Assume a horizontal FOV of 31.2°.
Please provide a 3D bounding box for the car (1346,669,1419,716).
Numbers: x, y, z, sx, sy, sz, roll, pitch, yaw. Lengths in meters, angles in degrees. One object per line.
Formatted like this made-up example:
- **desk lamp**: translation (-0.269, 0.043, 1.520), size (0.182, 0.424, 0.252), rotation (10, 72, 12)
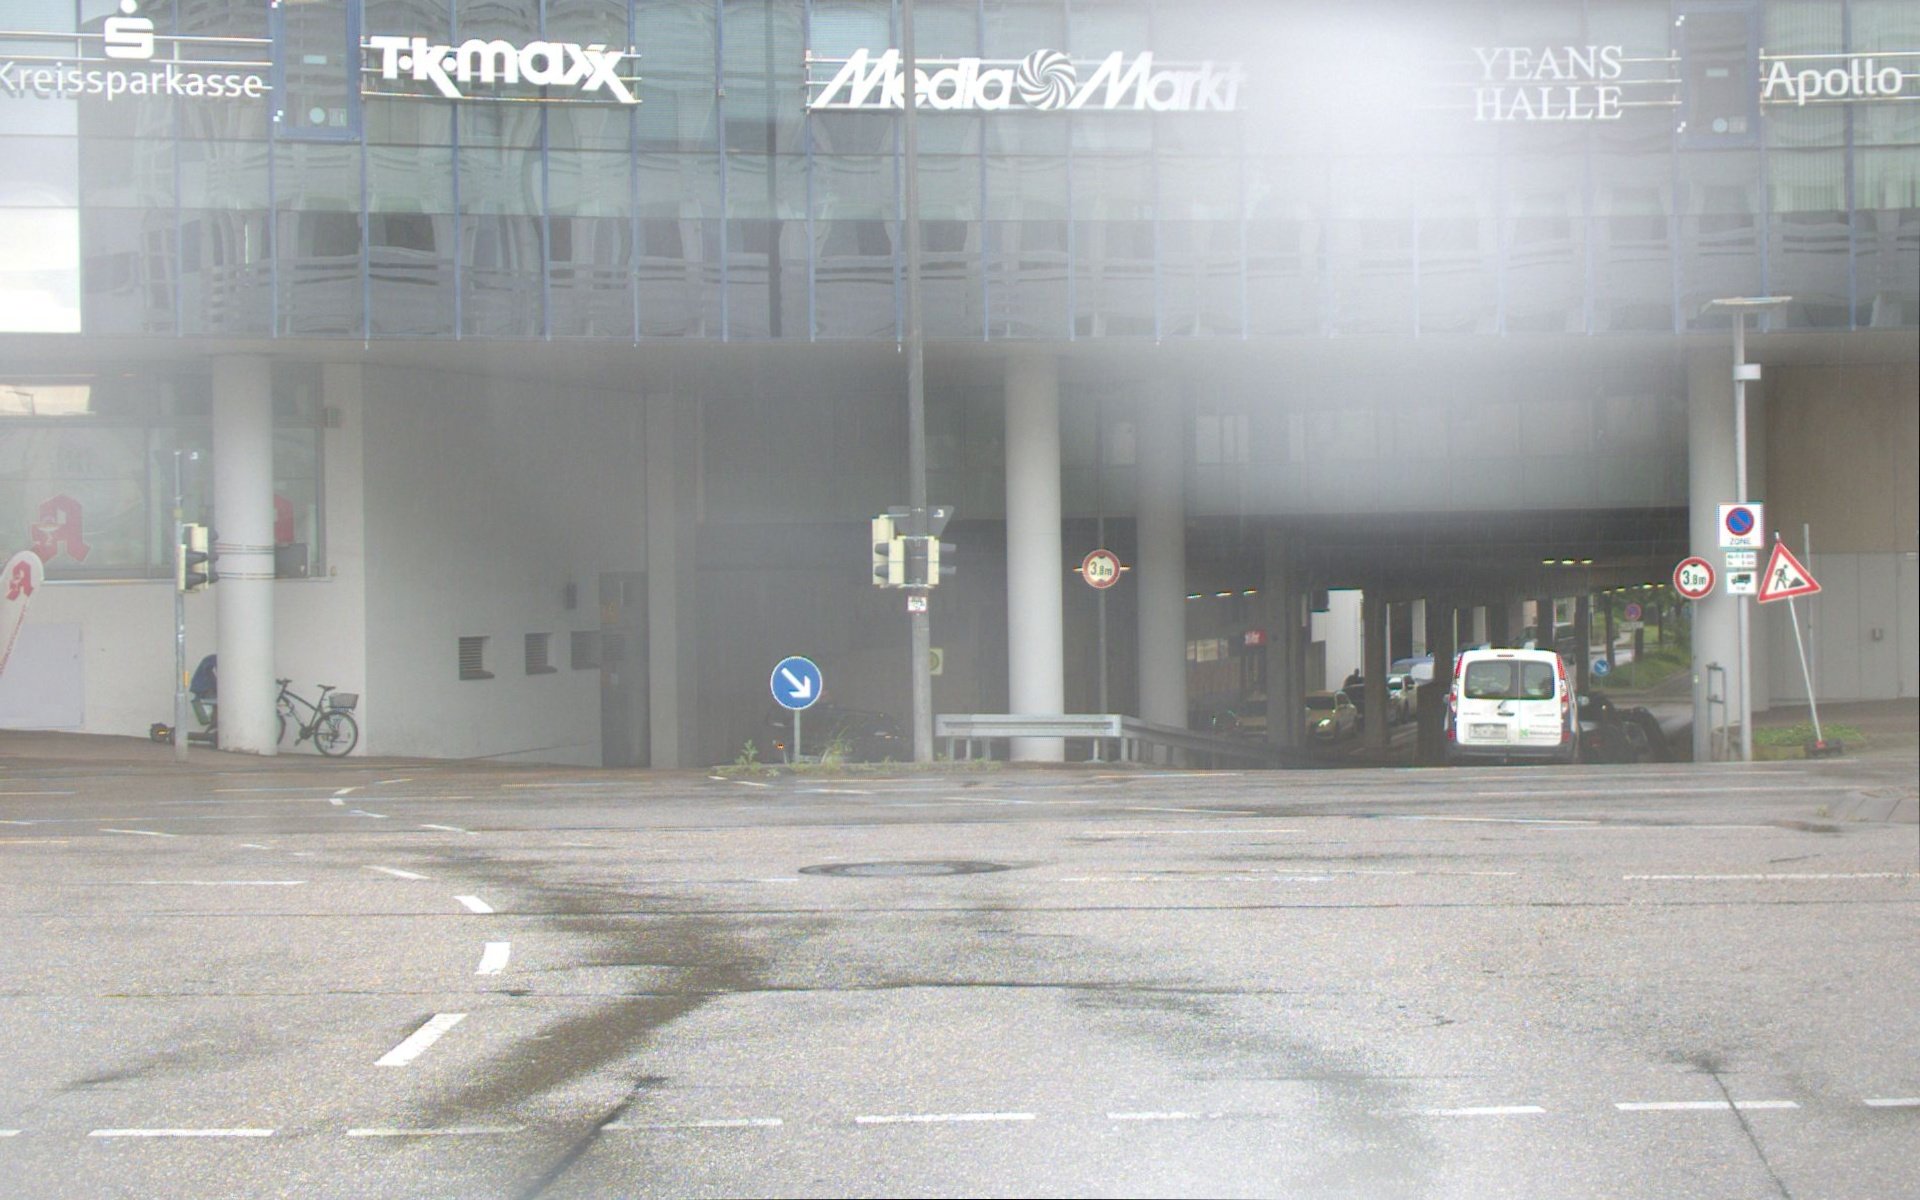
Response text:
- **car**: translation (14.087, 3.064, 114.595), size (1.994, 1.459, 3.998), rotation (-1, -1, 13)

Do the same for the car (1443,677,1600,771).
- **car**: translation (9.218, 2.055, 56.235), size (1.759, 1.459, 3.938), rotation (-2, -3, 21)

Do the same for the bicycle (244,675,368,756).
- **bicycle**: translation (-9.268, 1.638, 48.709), size (1.581, 1.014, 0.452), rotation (6, -2, -31)

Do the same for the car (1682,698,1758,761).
- **car**: translation (20.119, 3.405, 90.898), size (1.889, 1.486, 3.838), rotation (1, 0, 13)

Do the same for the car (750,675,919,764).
- **car**: translation (-2.243, 2.199, 62.531), size (1.894, 1.465, 4.023), rotation (-1, -4, 16)

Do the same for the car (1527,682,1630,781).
- **car**: translation (11.003, 2.365, 61.009), size (1.633, 1.606, 4.259), rotation (-2, -4, 12)

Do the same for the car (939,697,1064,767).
- **car**: translation (0.927, 2.850, 74.425), size (1.772, 1.459, 3.872), rotation (-1, -2, 15)

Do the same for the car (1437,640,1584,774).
- **car**: translation (7.822, 1.489, 48.625), size (1.926, 1.791, 4.294), rotation (-1, -1, 10)

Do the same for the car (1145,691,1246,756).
- **car**: translation (6.285, 3.270, 91.287), size (1.916, 1.582, 3.936), rotation (-1, -1, 15)

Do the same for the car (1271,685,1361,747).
- **car**: translation (10.571, 3.411, 101.874), size (1.995, 1.658, 3.997), rotation (1, 0, 15)

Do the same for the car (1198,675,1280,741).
- **car**: translation (7.828, 3.006, 96.086), size (1.837, 1.722, 3.998), rotation (0, 0, 11)

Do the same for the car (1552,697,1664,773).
- **car**: translation (12.447, 2.612, 65.888), size (1.781, 1.396, 3.996), rotation (-1, -3, 15)

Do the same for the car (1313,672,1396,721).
- **car**: translation (12.590, 3.061, 109.513), size (1.995, 1.459, 3.997), rotation (-1, -1, 15)

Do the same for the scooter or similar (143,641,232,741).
- **scooter or similar**: translation (-10.834, 1.273, 48.205), size (1.166, 1.368, 0.489), rotation (1, 0, -15)
